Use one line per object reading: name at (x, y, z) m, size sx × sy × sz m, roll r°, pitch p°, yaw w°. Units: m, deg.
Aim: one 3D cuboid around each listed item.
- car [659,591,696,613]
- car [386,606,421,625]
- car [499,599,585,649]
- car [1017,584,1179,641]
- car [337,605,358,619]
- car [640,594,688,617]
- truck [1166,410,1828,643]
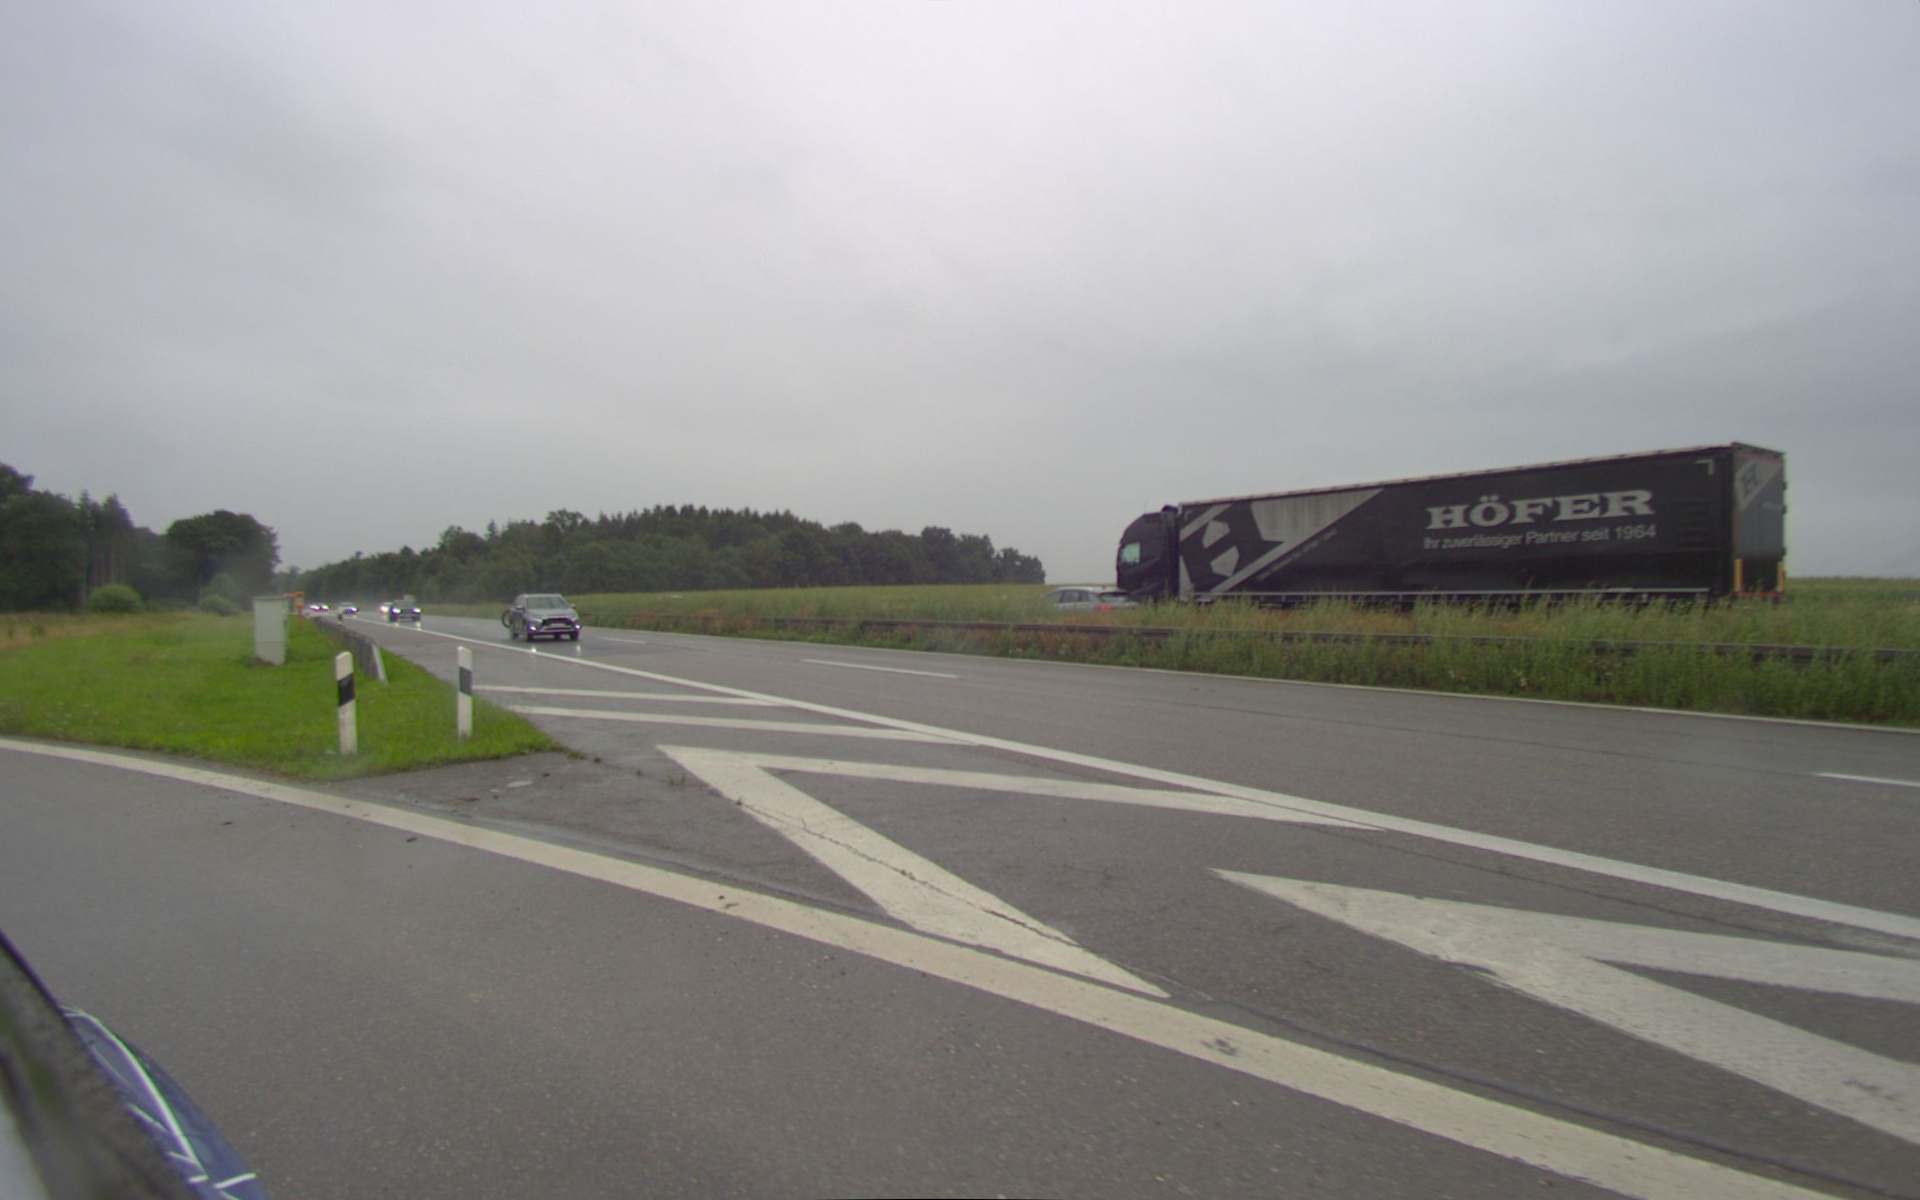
car at (-24.903, 0.192, 89.105) m, size 1.707 × 1.750 × 4.009 m, roll -2°, pitch 1°, yaw -37°
car at (-43.515, 1.173, 79.132) m, size 2.065 × 1.465 × 4.608 m, roll 0°, pitch 0°, yaw -33°
car at (-15.262, 0.836, 36.789) m, size 1.837 × 1.646 × 5.114 m, roll -1°, pitch 0°, yaw -35°
car at (3.841, 0.331, 28.958) m, size 2.076 × 1.445 × 4.544 m, roll -2°, pitch 1°, yaw -33°
car at (-76.792, 1.483, 126.820) m, size 2.116 × 1.648 × 4.608 m, roll 0°, pitch 0°, yaw -33°
car at (-21.437, 0.363, 73.247) m, size 2.076 × 1.551 × 4.544 m, roll -2°, pitch 1°, yaw -33°
truck at (11.157, -1.300, 23.959) m, size 3.152 × 3.996 × 13.848 m, roll -3°, pitch 2°, yaw -35°
